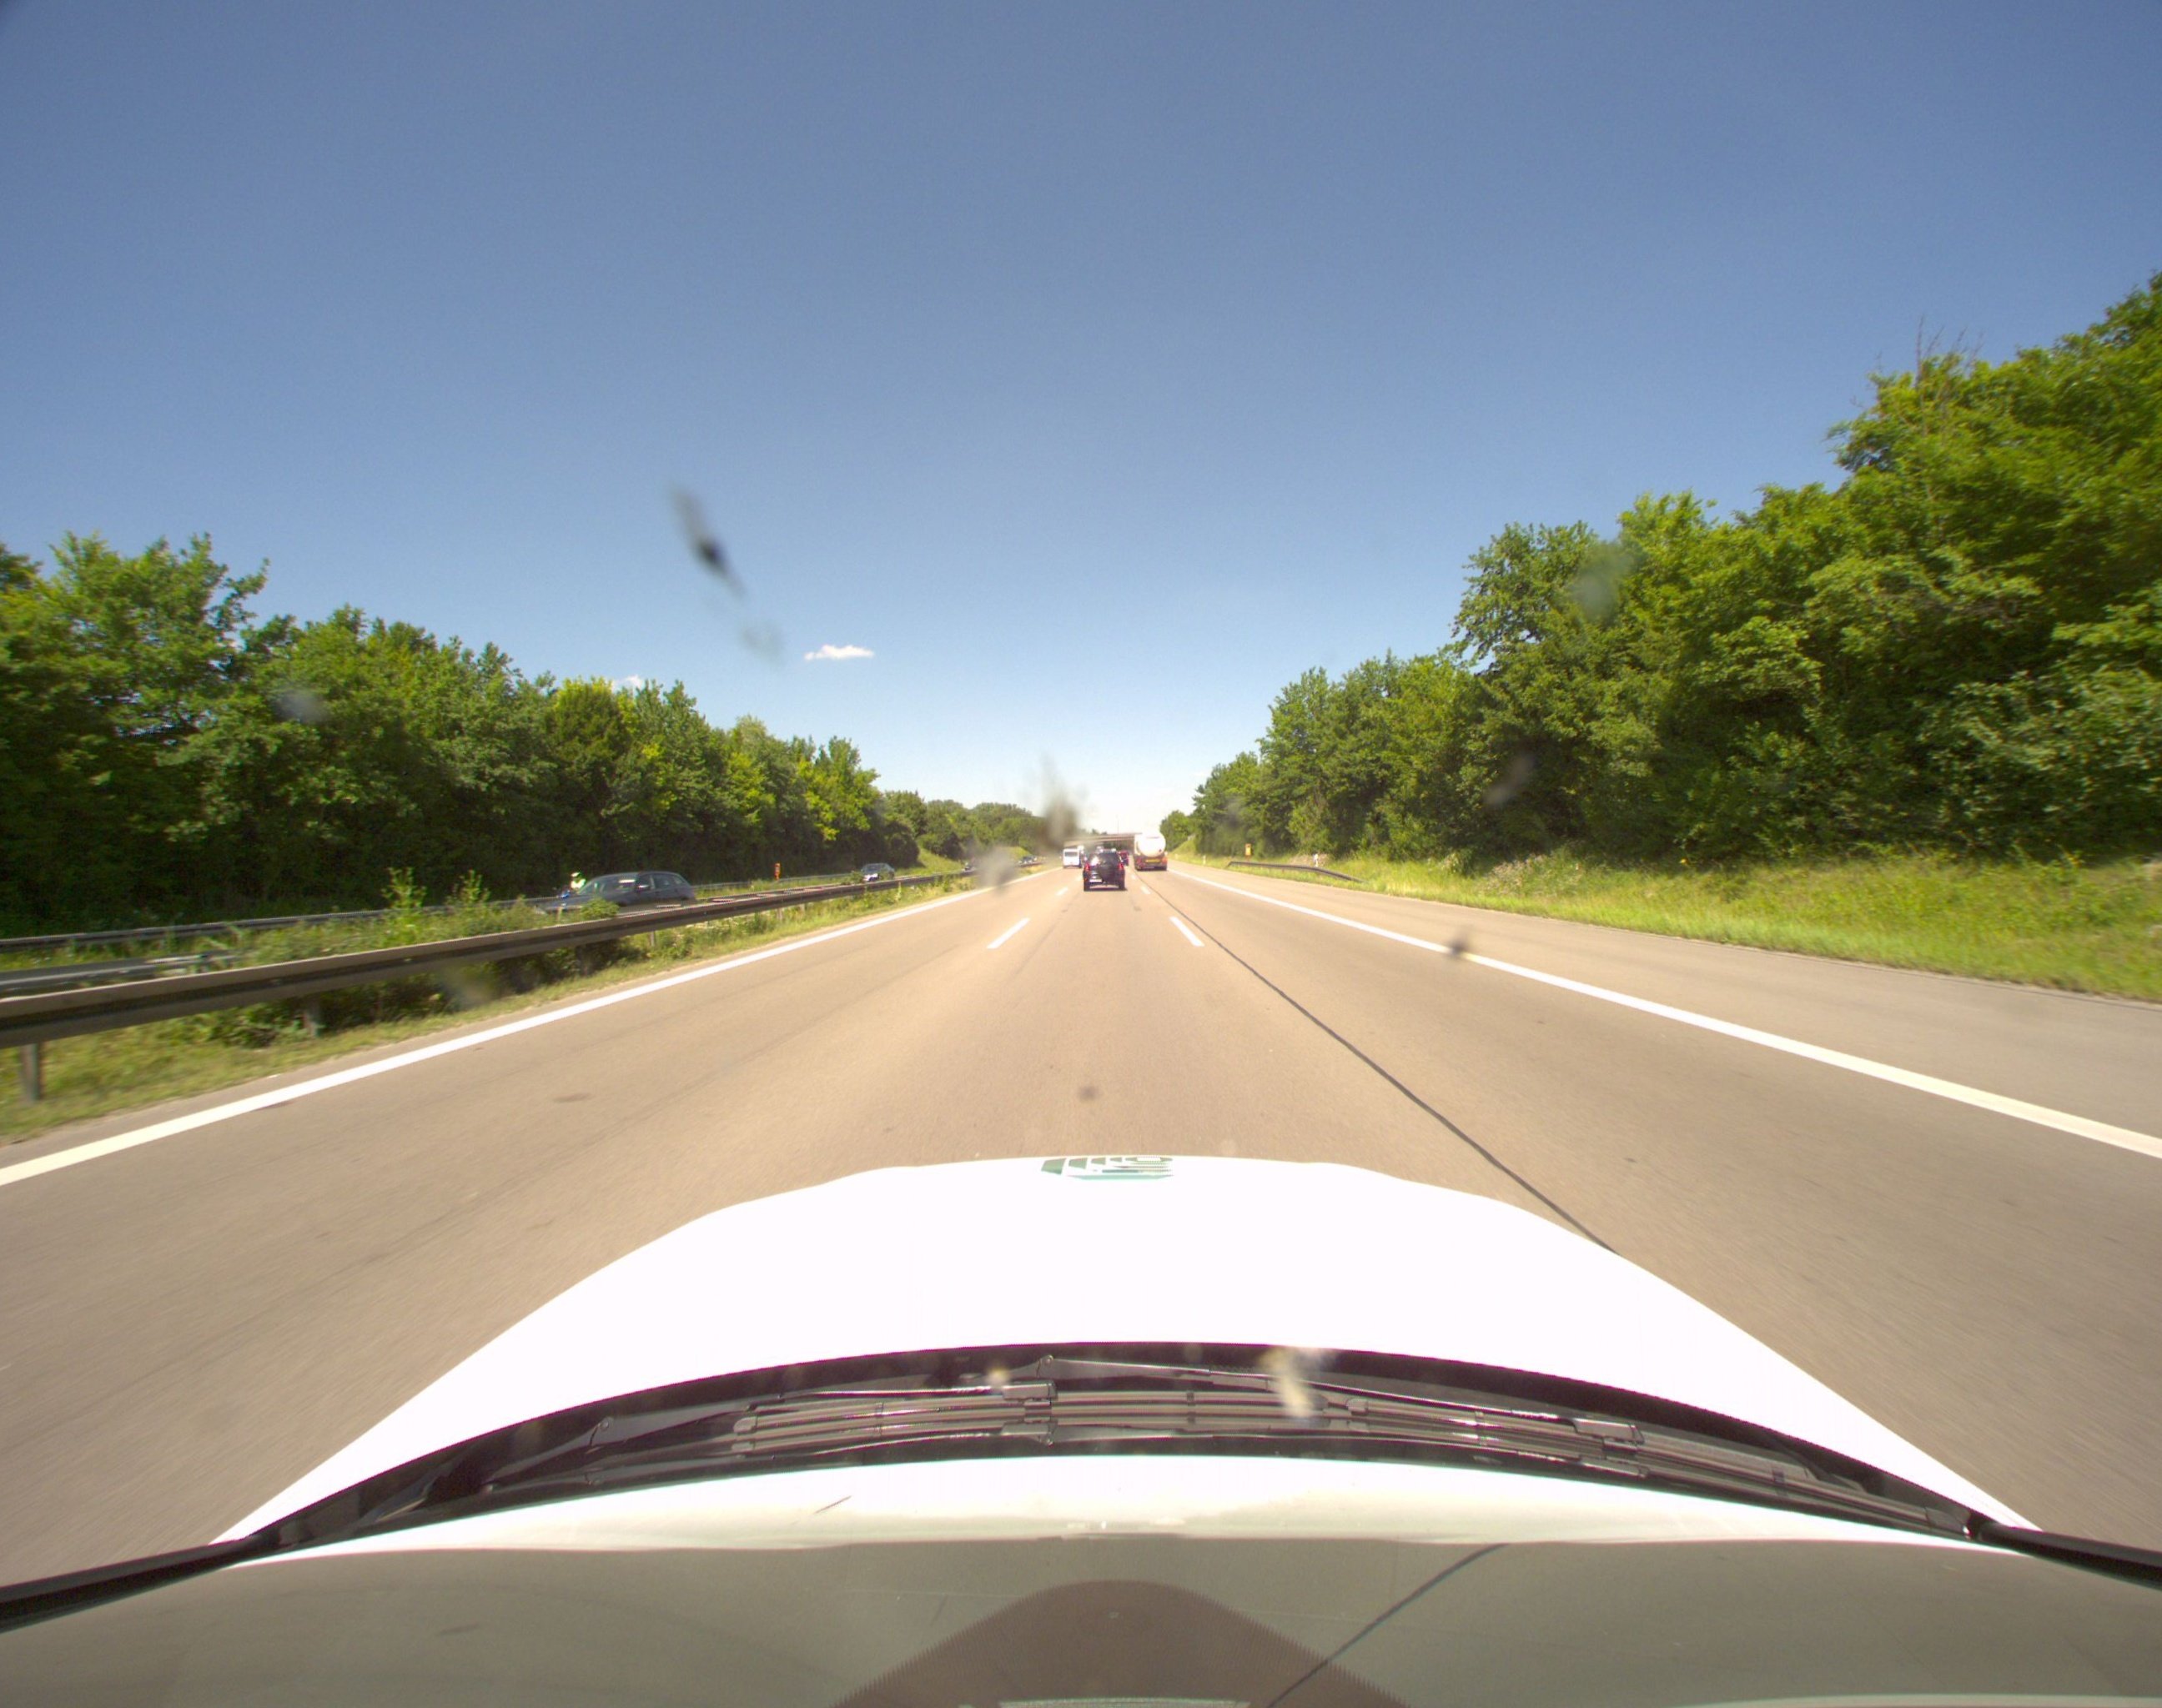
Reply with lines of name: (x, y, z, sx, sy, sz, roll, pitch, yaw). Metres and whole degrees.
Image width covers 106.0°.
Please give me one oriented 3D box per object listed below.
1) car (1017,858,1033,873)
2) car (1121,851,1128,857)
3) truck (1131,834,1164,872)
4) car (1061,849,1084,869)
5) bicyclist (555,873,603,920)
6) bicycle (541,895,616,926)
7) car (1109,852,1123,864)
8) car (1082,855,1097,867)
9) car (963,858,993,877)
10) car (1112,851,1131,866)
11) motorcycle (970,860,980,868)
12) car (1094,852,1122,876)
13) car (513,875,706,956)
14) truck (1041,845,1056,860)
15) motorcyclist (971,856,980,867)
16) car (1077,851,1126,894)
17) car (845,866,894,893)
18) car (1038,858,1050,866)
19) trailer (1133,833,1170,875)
car: (-7.762, 1.565, 113.600, 1.684, 1.881, 5.020, -3, 0, 1)
car: (12.341, 0.116, 231.102, 1.986, 1.574, 4.001, -3, 0, 2)
truck: (6.251, -0.065, 77.395, 2.628, 3.374, 6.489, -1, 0, 1)
car: (-0.893, 0.520, 85.323, 1.985, 2.013, 4.953, -3, 0, 3)
bicyclist: (-17.950, 1.502, 29.158, 0.877, 1.576, 1.287, -2, -1, 1)
bicycle: (-17.928, 1.997, 29.129, 0.898, 0.916, 2.734, -2, -1, 1)
car: (5.569, 0.678, 128.259, 1.984, 1.750, 4.210, -2, 0, 5)
car: (1.188, 1.013, 111.200, 1.986, 1.552, 4.001, -2, -1, 2)
car: (-9.412, 1.203, 74.528, 1.986, 1.520, 4.429, -3, 0, 1)
car: (4.774, 0.535, 95.637, 1.984, 1.684, 4.004, -2, -1, 4)
motorcycle: (-14.458, 1.418, 111.464, 0.931, 1.017, 2.656, -3, 0, 2)
car: (2.056, 0.750, 62.338, 1.986, 1.706, 4.338, -3, 0, 2)
car: (-11.484, 1.428, 20.292, 1.986, 1.598, 4.593, -2, 0, 1)
truck: (-8.379, -0.438, 212.293, 2.668, 3.769, 9.927, -4, 0, 3)
motorcyclist: (-14.466, 0.987, 111.537, 0.937, 1.443, 1.357, -3, 0, 1)
car: (0.931, 0.758, 35.371, 1.898, 1.665, 4.004, -2, 0, 4)
car: (-13.952, 1.651, 53.933, 1.860, 1.585, 4.559, -3, 0, 1)
car: (-7.834, 1.678, 172.349, 1.986, 1.629, 4.578, -3, 0, 2)
trailer: (6.161, -0.049, 72.544, 2.638, 3.390, 11.157, -1, 0, 2)
